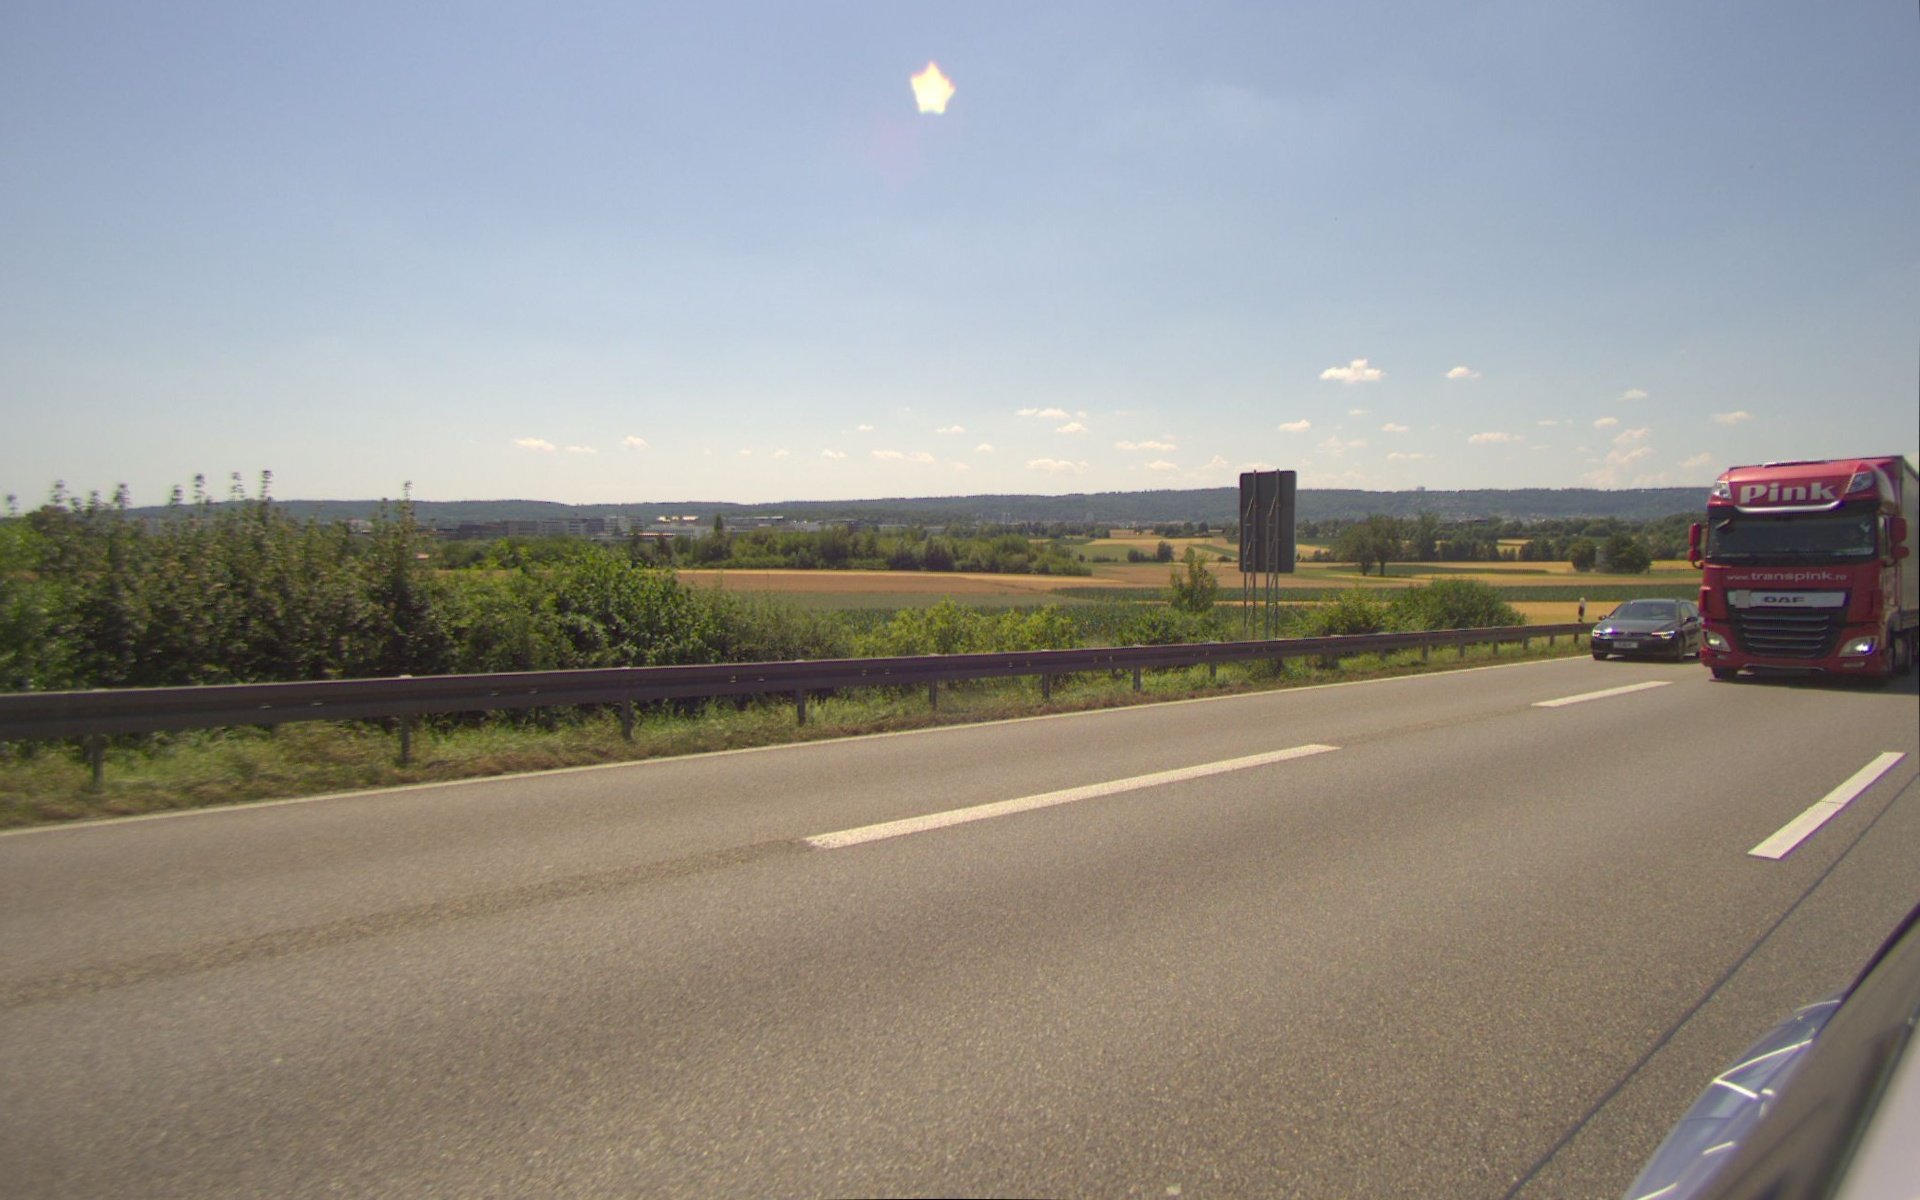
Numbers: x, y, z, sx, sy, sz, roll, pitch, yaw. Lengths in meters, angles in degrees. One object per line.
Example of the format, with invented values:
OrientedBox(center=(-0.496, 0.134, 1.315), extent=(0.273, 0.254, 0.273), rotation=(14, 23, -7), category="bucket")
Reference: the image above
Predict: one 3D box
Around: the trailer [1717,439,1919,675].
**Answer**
OrientedBox(center=(21.062, -0.900, 23.623), extent=(13.622, 4.169, 2.922), rotation=(-1, 1, -42), category="trailer")

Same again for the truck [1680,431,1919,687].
OrientedBox(center=(16.330, -0.724, 19.324), extent=(6.400, 4.059, 2.920), rotation=(-1, 1, -42), category="truck")

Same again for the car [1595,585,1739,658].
OrientedBox(center=(16.970, 0.469, 24.225), extent=(3.932, 1.571, 2.034), rotation=(0, 1, -43), category="car")
